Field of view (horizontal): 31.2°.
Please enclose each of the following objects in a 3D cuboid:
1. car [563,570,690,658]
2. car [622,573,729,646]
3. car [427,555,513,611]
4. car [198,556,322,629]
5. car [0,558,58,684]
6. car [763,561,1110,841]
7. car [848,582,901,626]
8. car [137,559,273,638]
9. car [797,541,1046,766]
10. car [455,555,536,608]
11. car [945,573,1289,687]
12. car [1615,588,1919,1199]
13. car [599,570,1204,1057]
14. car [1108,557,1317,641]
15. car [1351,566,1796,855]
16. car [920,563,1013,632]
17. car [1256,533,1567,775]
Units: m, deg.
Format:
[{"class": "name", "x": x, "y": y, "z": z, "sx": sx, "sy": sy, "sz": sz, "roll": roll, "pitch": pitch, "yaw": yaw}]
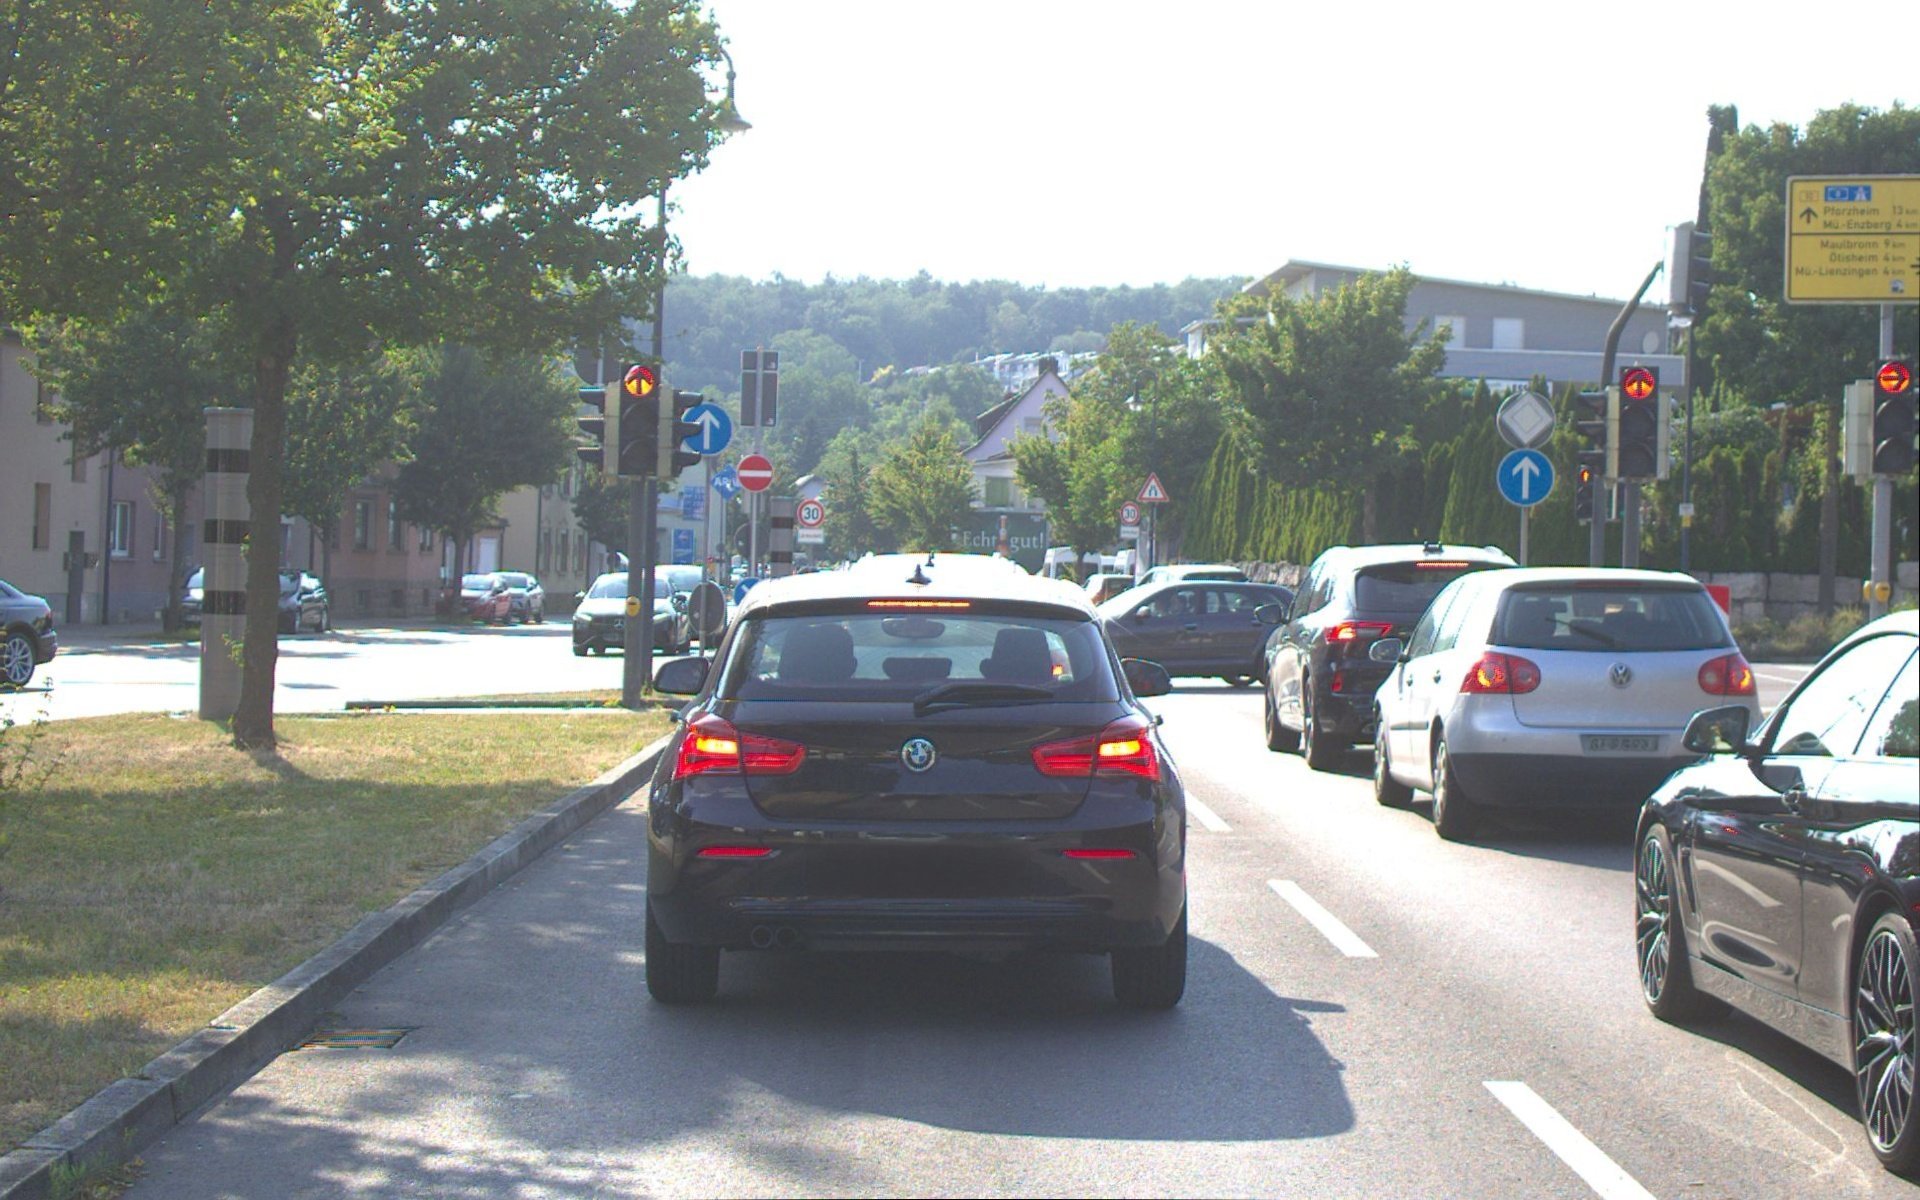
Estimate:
[{"class": "car", "x": -5.828, "y": 0.217, "z": 60.485, "sx": 1.766, "sy": 1.453, "sz": 4.000, "roll": 1, "pitch": 1, "yaw": 1}, {"class": "car", "x": -5.605, "y": 0.171, "z": 68.037, "sx": 1.693, "sy": 1.349, "sz": 4.000, "roll": 1, "pitch": 1, "yaw": 1}, {"class": "car", "x": -14.686, "y": -0.529, "z": 103.123, "sx": 1.924, "sy": 1.590, "sz": 4.000, "roll": 1, "pitch": 1, "yaw": 1}, {"class": "car", "x": -15.914, "y": -0.193, "z": 78.296, "sx": 1.924, "sy": 1.590, "sz": 4.000, "roll": 1, "pitch": 1, "yaw": 1}, {"class": "car", "x": -12.206, "y": 0.229, "z": 37.787, "sx": 1.846, "sy": 1.417, "sz": 4.638, "roll": 1, "pitch": 1, "yaw": 26}, {"class": "car", "x": -0.098, "y": 0.512, "z": 20.296, "sx": 1.816, "sy": 1.446, "sz": 4.242, "roll": 1, "pitch": 1, "yaw": 1}, {"class": "car", "x": -3.226, "y": 0.137, "z": 130.430, "sx": 1.924, "sy": 1.590, "sz": 4.000, "roll": 1, "pitch": 1, "yaw": -1}, {"class": "car", "x": -15.985, "y": -0.060, "z": 72.930, "sx": 1.924, "sy": 1.590, "sz": 4.000, "roll": 1, "pitch": 1, "yaw": 1}, {"class": "car", "x": -0.257, "y": 0.365, "z": 27.488, "sx": 1.816, "sy": 1.635, "sz": 4.242, "roll": 1, "pitch": 1, "yaw": 1}, {"class": "car", "x": -14.645, "y": -0.605, "z": 108.629, "sx": 1.924, "sy": 1.590, "sz": 4.000, "roll": 1, "pitch": 1, "yaw": 1}, {"class": "car", "x": 2.001, "y": 0.380, "z": 44.429, "sx": 4.175, "sy": 1.382, "sz": 1.651, "roll": 1, "pitch": 1, "yaw": -8}, {"class": "car", "x": 3.111, "y": 0.692, "z": 9.468, "sx": 1.816, "sy": 1.384, "sz": 4.347, "roll": 1, "pitch": 1, "yaw": 1}, {"class": "car", "x": -0.148, "y": 0.619, "z": 12.447, "sx": 1.790, "sy": 1.410, "sz": 4.347, "roll": 1, "pitch": 1, "yaw": 1}, {"class": "car", "x": 4.754, "y": -0.038, "z": 65.487, "sx": 1.861, "sy": 1.480, "sz": 4.660, "roll": 1, "pitch": 1, "yaw": -26}, {"class": "car", "x": 3.396, "y": 0.547, "z": 19.823, "sx": 1.816, "sy": 1.441, "sz": 4.347, "roll": 1, "pitch": 1, "yaw": 1}, {"class": "car", "x": 0.133, "y": -0.094, "z": 87.964, "sx": 1.890, "sy": 1.696, "sz": 4.524, "roll": 0, "pitch": 1, "yaw": -6}, {"class": "car", "x": 3.330, "y": 0.347, "z": 26.118, "sx": 1.816, "sy": 1.660, "sz": 4.347, "roll": 1, "pitch": 1, "yaw": 1}]
